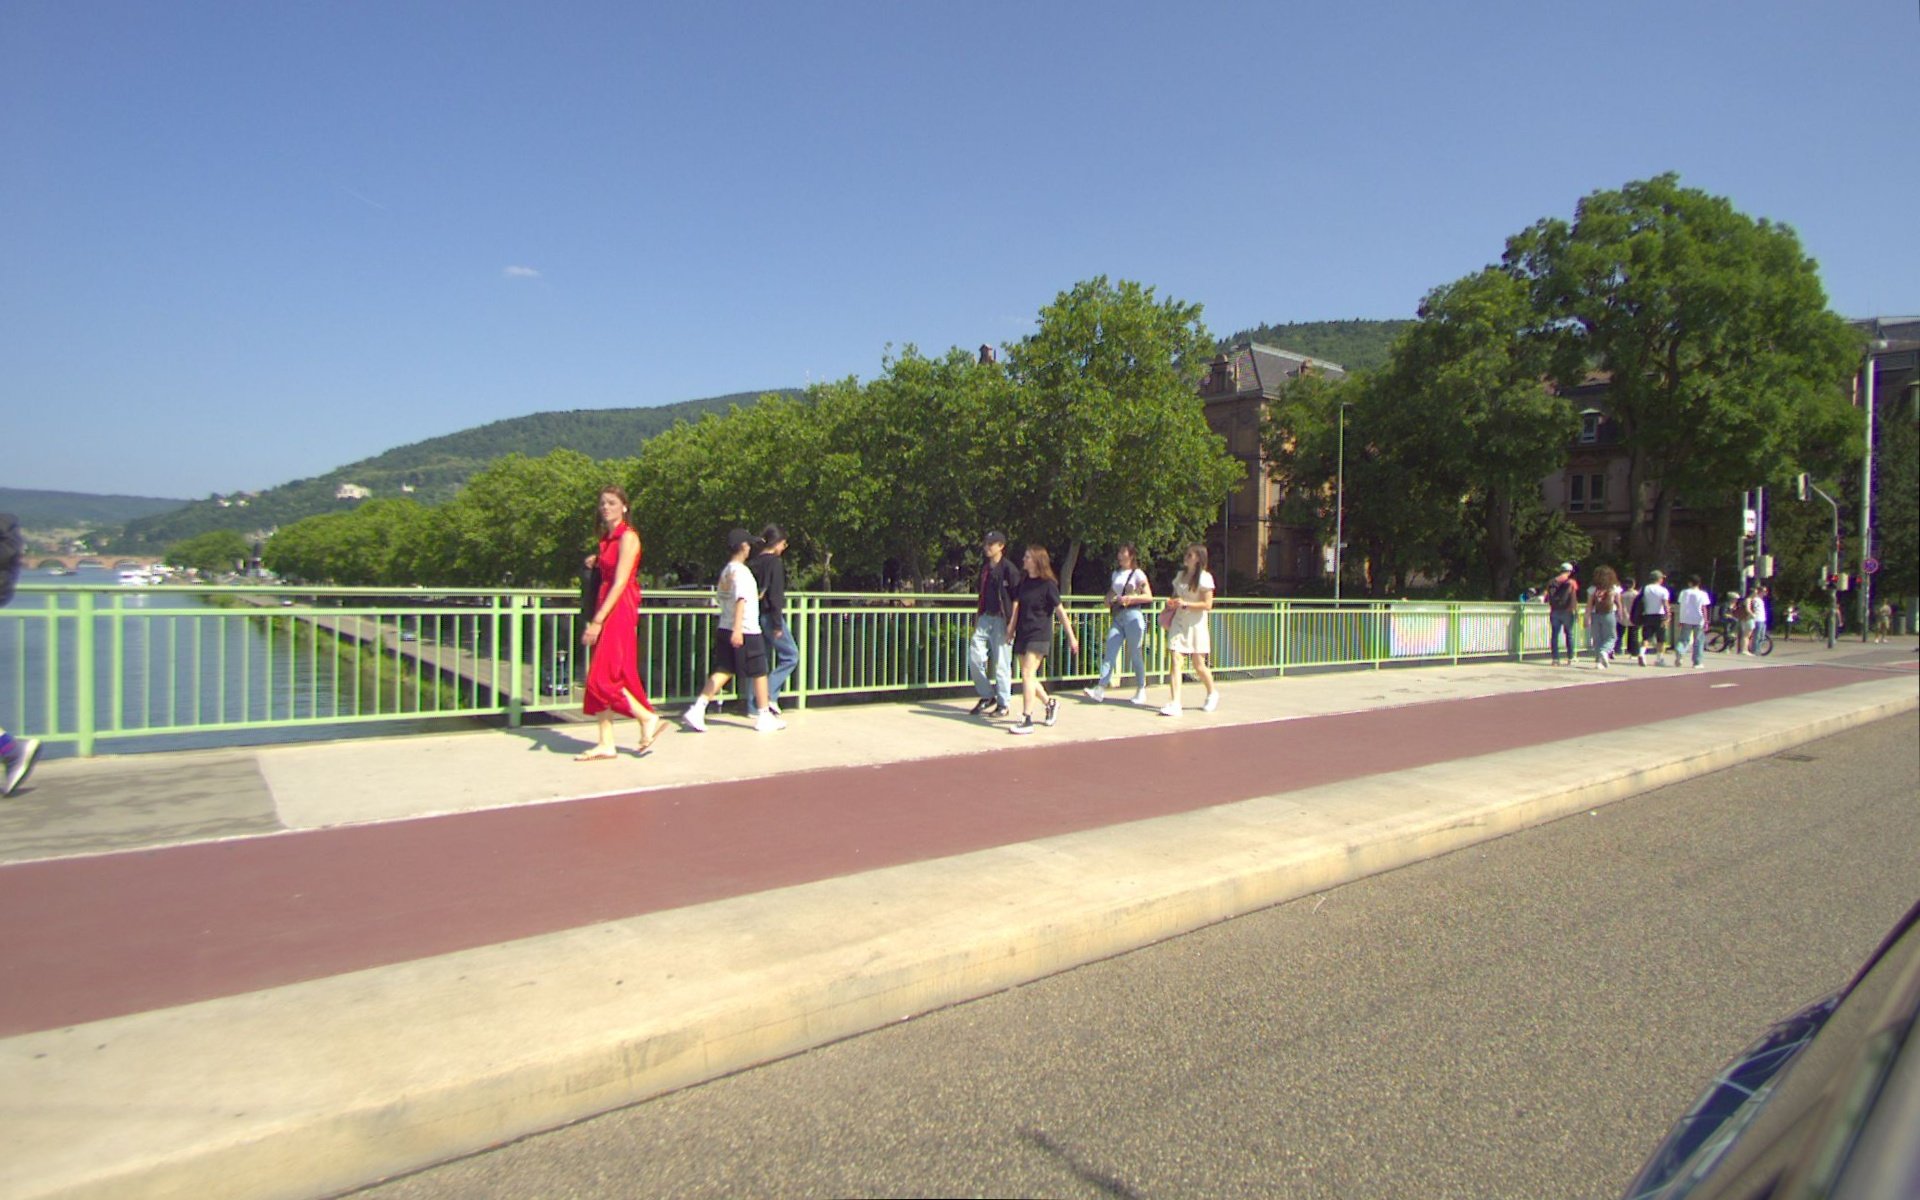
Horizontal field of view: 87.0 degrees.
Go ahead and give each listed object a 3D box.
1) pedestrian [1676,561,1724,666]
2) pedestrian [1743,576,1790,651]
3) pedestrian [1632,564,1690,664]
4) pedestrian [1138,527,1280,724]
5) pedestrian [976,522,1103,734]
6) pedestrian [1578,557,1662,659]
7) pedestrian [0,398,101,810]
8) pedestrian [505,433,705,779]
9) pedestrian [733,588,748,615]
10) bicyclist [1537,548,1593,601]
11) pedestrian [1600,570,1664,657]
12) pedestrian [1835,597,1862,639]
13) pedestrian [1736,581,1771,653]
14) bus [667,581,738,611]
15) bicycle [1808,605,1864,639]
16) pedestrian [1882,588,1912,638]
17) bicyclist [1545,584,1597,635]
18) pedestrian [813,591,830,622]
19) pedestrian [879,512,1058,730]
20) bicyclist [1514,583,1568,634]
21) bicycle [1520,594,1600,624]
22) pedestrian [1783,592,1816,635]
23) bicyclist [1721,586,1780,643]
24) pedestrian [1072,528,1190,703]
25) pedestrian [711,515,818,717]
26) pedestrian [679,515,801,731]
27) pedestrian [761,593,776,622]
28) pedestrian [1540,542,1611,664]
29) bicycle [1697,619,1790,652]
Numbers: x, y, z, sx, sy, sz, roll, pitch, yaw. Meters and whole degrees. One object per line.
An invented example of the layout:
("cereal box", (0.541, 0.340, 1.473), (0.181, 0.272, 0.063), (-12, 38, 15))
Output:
("pedestrian", (13.184, 0.226, 18.033), (0.635, 1.821, 0.549), (0, 1, -43))
("pedestrian", (20.601, 0.327, 25.856), (0.632, 1.879, 0.776), (1, 0, -34))
("pedestrian", (12.568, 0.229, 18.135), (0.719, 1.738, 0.696), (0, 1, -43))
("pedestrian", (2.405, 0.207, 9.779), (0.914, 1.772, 0.986), (-1, 2, -43))
("pedestrian", (0.670, 0.207, 8.525), (0.854, 1.670, 0.655), (-1, 2, -43))
("pedestrian", (11.034, 0.113, 16.923), (0.906, 1.635, 0.986), (-1, 2, -43))
("pedestrian", (-4.984, 0.011, 4.886), (1.233, 1.918, 0.986), (-1, 2, -43))
("pedestrian", (-2.284, 0.019, 6.476), (0.922, 1.978, 1.017), (0, 1, -39))
("pedestrian", (-14.981, 0.090, 69.061), (0.665, 1.798, 0.741), (1, 0, -43))
("bicyclist", (17.423, -0.724, 29.168), (0.909, 1.492, 1.084), (1, -1, -31))
("pedestrian", (13.199, 0.246, 19.881), (0.933, 1.655, 0.800), (0, 1, -41))
("pedestrian", (37.391, 0.754, 42.595), (0.877, 1.731, 0.675), (0, 2, -41))
("pedestrian", (20.058, 0.424, 25.572), (0.566, 1.782, 0.536), (1, 0, -34))
("bus", (-26.351, -0.466, 103.272), (3.058, 2.817, 8.834), (-1, 2, -43))
("bicycle", (37.321, 0.924, 43.117), (2.227, 1.219, 0.805), (-3, 5, -21))
("pedestrian", (39.118, 0.532, 42.256), (1.042, 2.038, 0.776), (0, 2, -42))
("bicyclist", (18.031, 0.273, 29.863), (0.746, 1.492, 1.085), (1, 0, -17))
("pedestrian", (-8.095, 0.375, 59.135), (0.665, 1.798, 0.741), (1, 0, -43))
("pedestrian", (0.084, 0.153, 9.098), (1.233, 1.791, 0.986), (0, 2, -43))
("bicyclist", (17.361, 0.258, 30.241), (0.909, 1.492, 1.084), (1, -1, -29))
("bicycle", (17.312, 0.242, 29.223), (0.554, 0.837, 1.946), (1, 0, -33))
("pedestrian", (36.232, 0.567, 43.711), (1.054, 1.802, 0.692), (1, 4, 39))
("bicyclist", (21.532, 0.387, 27.578), (0.785, 1.492, 1.084), (1, -1, -33))
("pedestrian", (1.760, 0.137, 10.443), (0.871, 1.697, 0.834), (-1, 2, -43))
("pedestrian", (-1.687, 0.128, 8.718), (0.679, 1.652, 0.651), (1, 0, -37))
("pedestrian", (-1.718, 0.161, 7.897), (0.679, 1.582, 0.651), (1, 1, -37))
("pedestrian", (-12.230, 0.481, 64.683), (0.665, 1.798, 0.741), (1, 0, -43))
("pedestrian", (10.671, 0.027, 17.538), (0.938, 2.038, 0.804), (-1, 1, -43))
("bicycle", (21.412, 0.951, 27.702), (0.554, 0.837, 1.946), (1, 0, -33))
